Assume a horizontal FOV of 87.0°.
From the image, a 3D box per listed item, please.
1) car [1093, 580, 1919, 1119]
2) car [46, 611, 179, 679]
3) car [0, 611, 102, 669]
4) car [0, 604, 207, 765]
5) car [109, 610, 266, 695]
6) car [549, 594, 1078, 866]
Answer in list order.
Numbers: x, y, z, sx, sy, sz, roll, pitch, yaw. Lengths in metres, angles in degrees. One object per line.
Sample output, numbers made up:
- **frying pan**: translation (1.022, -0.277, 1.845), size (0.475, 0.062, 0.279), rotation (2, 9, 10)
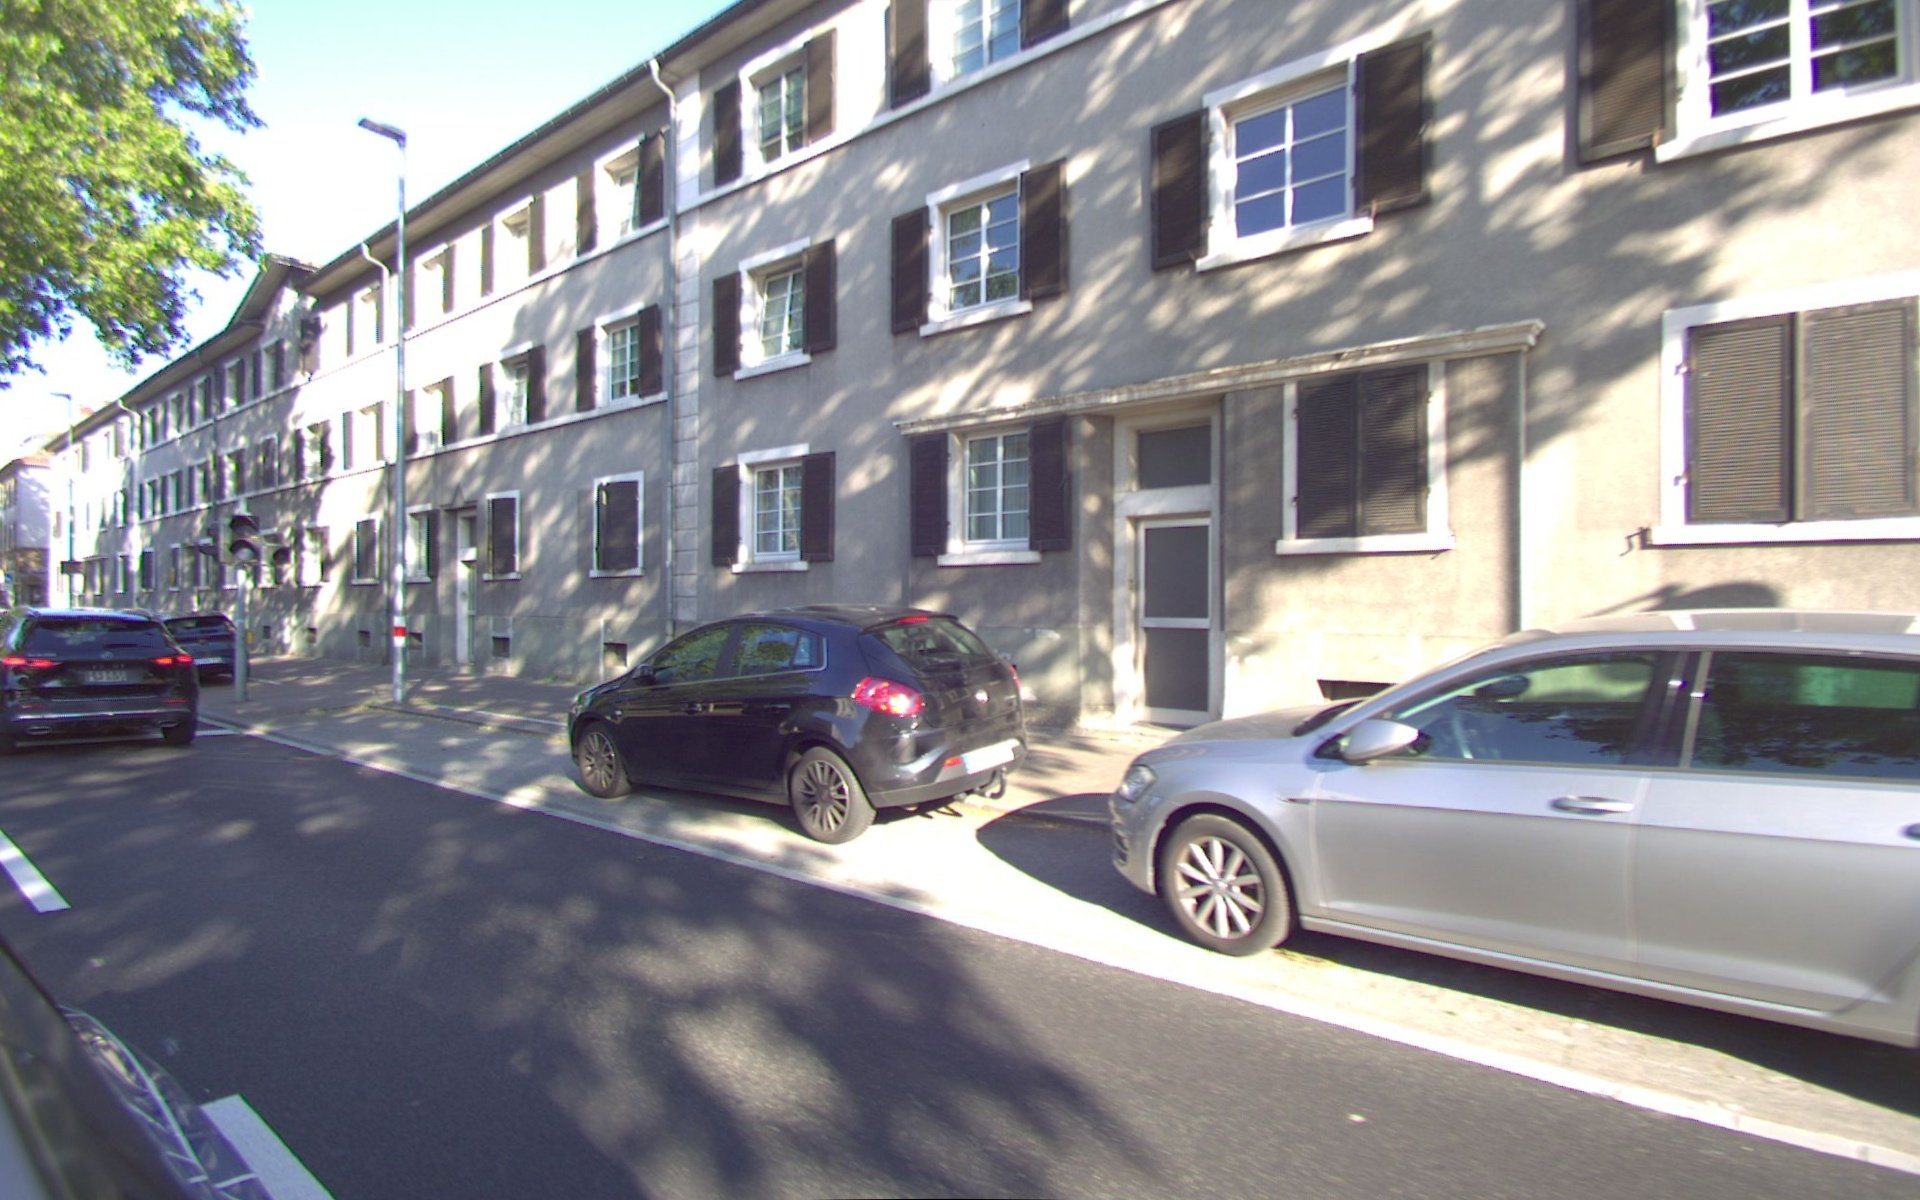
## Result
- **car**: translation (2.725, 0.695, 3.977), size (4.107, 1.494, 1.742), rotation (-1, 1, 42)
- **car**: translation (-21.209, 1.055, 25.270), size (4.083, 1.494, 1.846), rotation (-1, 1, 40)
- **car**: translation (-27.859, 1.175, 30.884), size (4.082, 1.624, 1.847), rotation (-1, 0, 39)
- **car**: translation (-10.643, 0.875, 11.983), size (4.066, 1.602, 1.877), rotation (-1, -2, 40)
- **car**: translation (-15.817, 0.983, 20.647), size (4.086, 1.494, 1.845), rotation (-1, 2, 43)
- **car**: translation (-1.279, 0.759, 7.720), size (4.049, 1.518, 1.690), rotation (-1, 1, 39)
